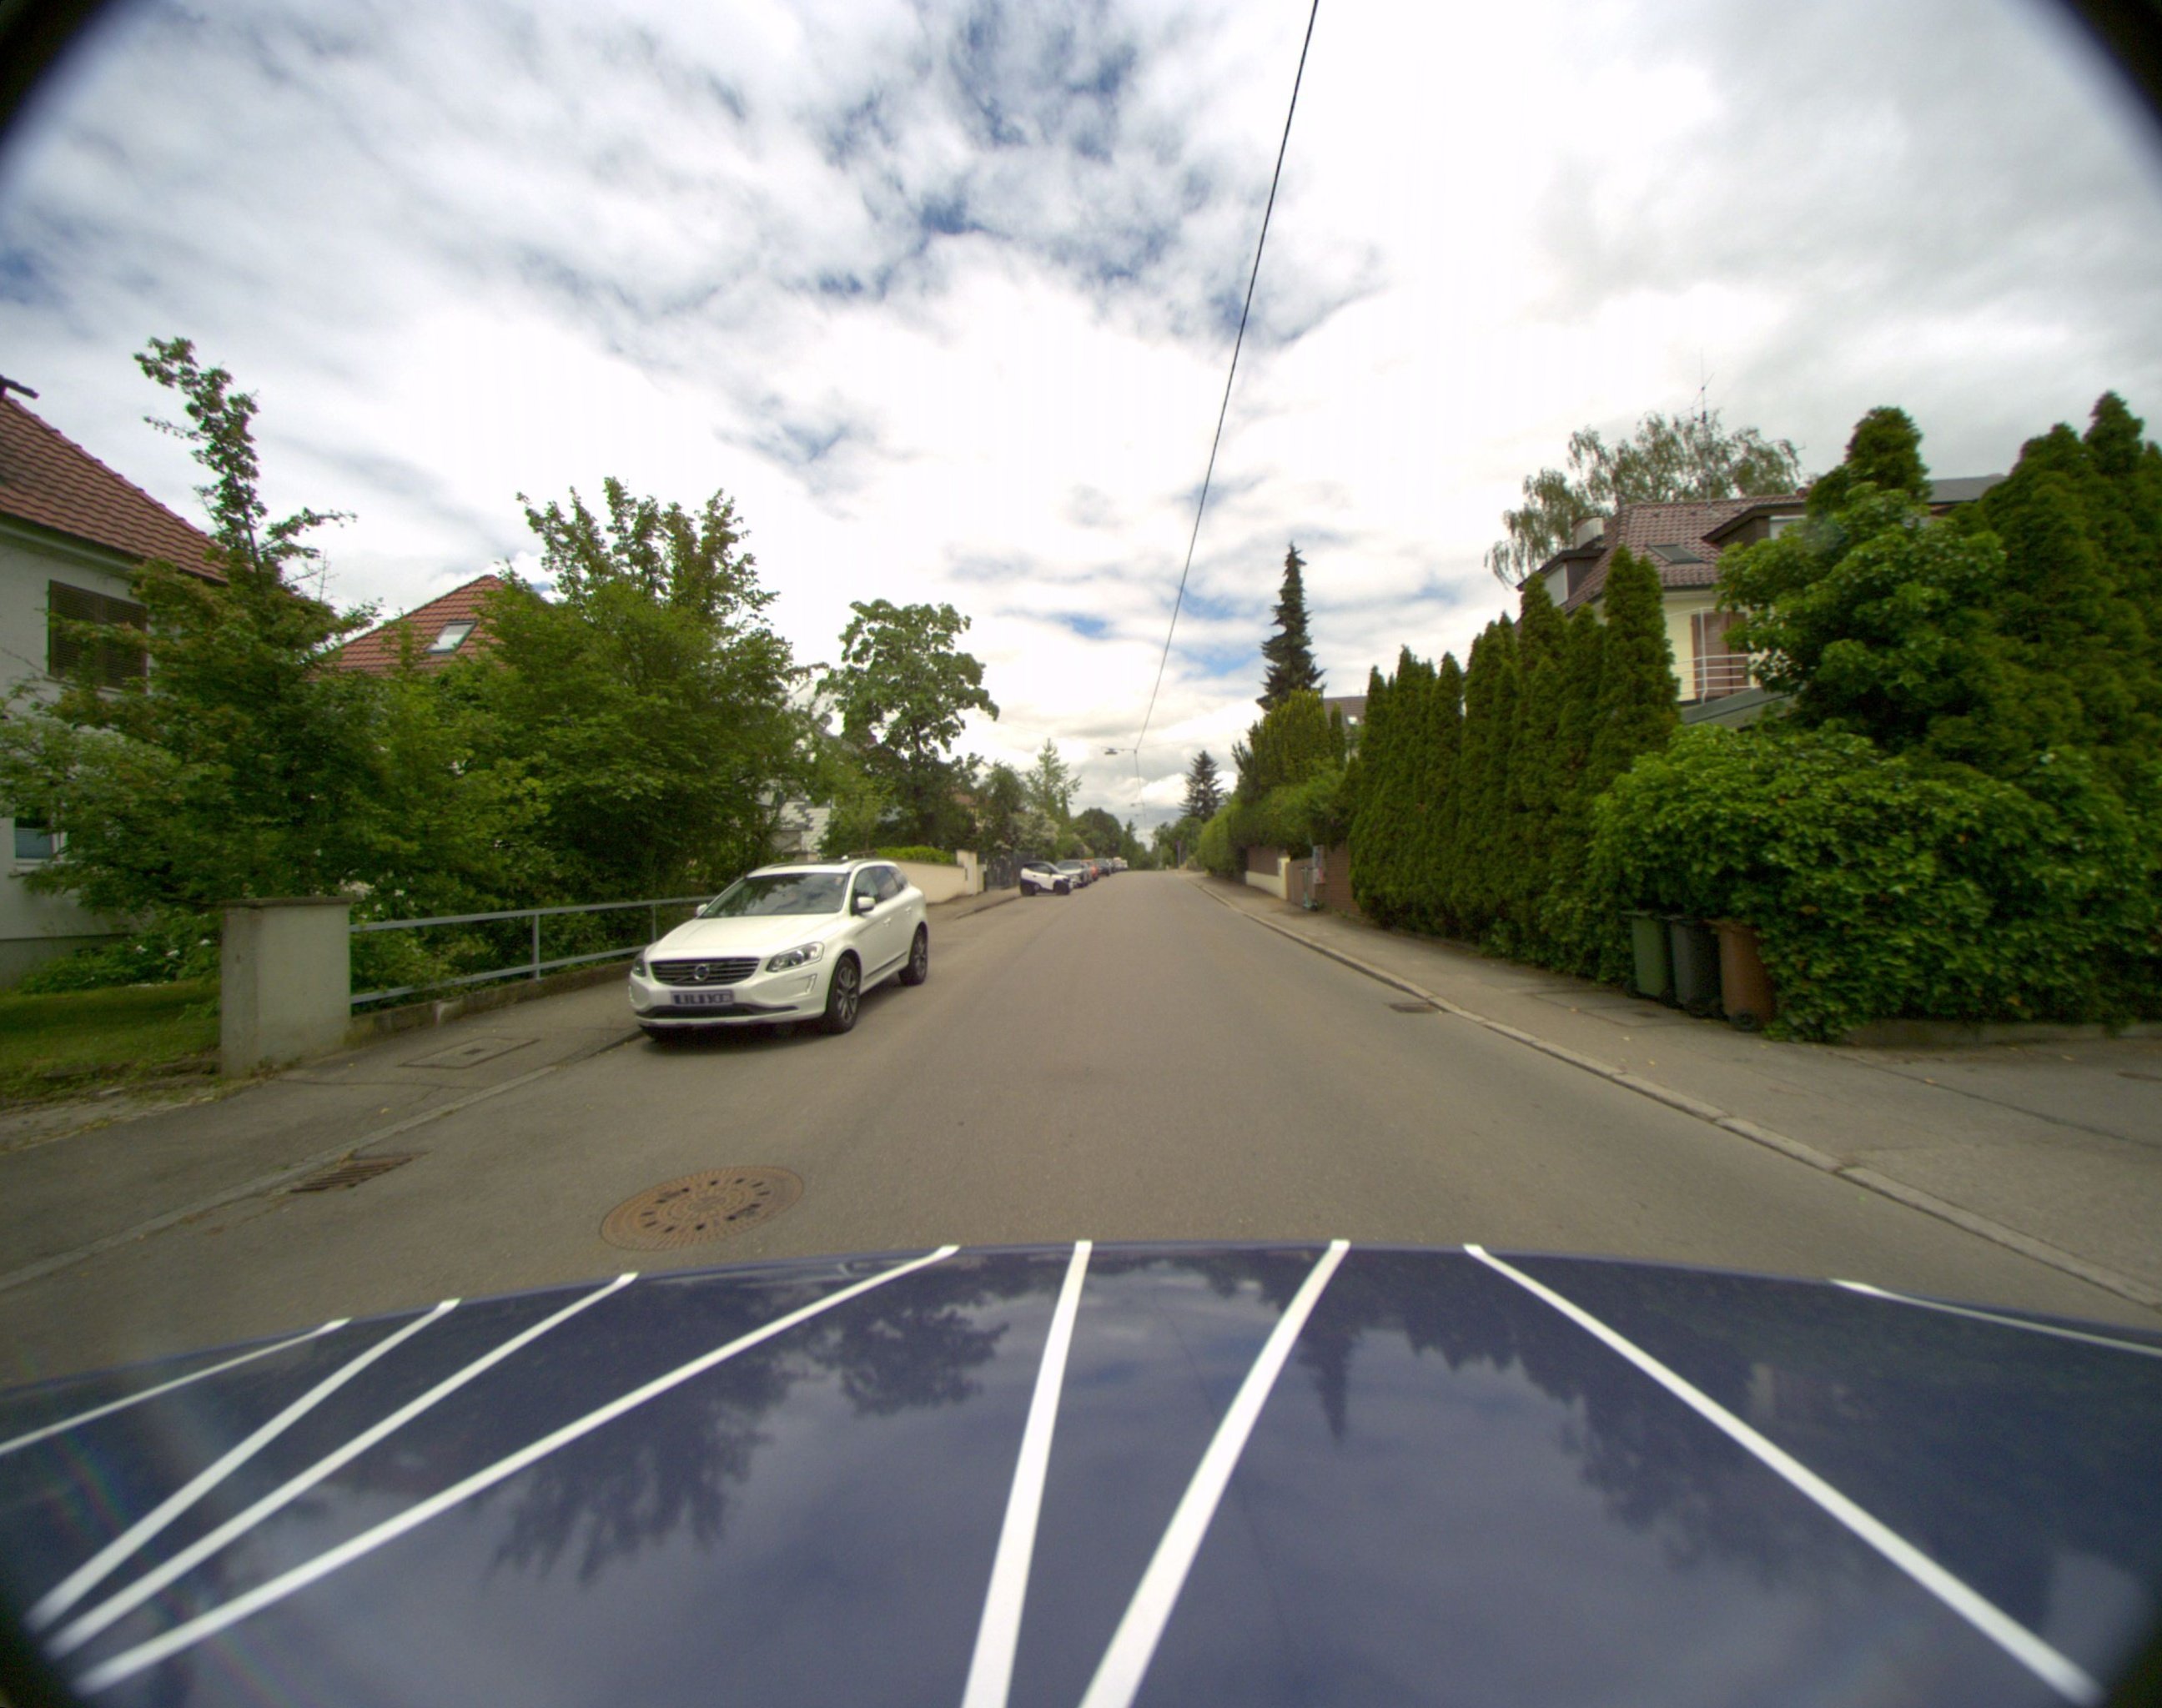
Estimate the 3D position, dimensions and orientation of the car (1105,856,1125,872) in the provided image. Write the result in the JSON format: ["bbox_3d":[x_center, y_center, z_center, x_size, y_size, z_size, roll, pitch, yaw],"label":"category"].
[{"bbox_3d":[3.591,1.082,79.861,1.804,1.582,4.143,-2,0,6],"label":"car"}]

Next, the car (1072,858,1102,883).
[{"bbox_3d":[0.508,1.195,55.800,1.854,1.617,4.171,-3,0,4],"label":"car"}]

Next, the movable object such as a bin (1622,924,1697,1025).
[{"bbox_3d":[5.570,1.153,7.332,0.337,0.888,0.476,-3,0,5],"label":"movable object such as a bin"}]

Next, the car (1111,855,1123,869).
[{"bbox_3d":[6.123,1.310,128.454,1.853,2.210,5.370,-4,-1,3],"label":"car"}]

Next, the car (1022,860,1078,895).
[{"bbox_3d":[-1.412,1.046,34.676,2.291,1.515,1.319,-1,0,10],"label":"car"}]

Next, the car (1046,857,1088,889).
[{"bbox_3d":[-0.728,1.030,42.452,1.833,1.614,4.493,-2,0,5],"label":"car"}]

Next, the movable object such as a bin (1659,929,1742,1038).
[{"bbox_3d":[5.526,1.145,6.799,0.337,0.888,0.476,-3,0,5],"label":"movable object such as a bin"}]

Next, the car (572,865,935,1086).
[{"bbox_3d":[-3.093,1.027,8.356,1.870,1.675,4.351,-2,0,3],"label":"car"}]

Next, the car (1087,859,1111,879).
[{"bbox_3d":[1.655,1.303,68.017,1.954,1.617,4.377,-3,0,3],"label":"car"}]

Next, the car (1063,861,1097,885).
[{"bbox_3d":[-0.013,1.178,48.365,1.720,1.374,4.237,-2,0,5],"label":"car"}]

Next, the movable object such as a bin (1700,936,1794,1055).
[{"bbox_3d":[5.484,1.151,6.275,0.337,0.888,0.476,-3,0,5],"label":"movable object such as a bin"}]

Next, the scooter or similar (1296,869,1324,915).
[{"bbox_3d":[6.113,1.004,20.331,0.392,1.164,1.270,-2,0,4],"label":"scooter or similar"}]

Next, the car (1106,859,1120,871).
[{"bbox_3d":[3.958,1.369,94.571,1.721,1.451,4.142,-2,-1,2],"label":"car"}]
